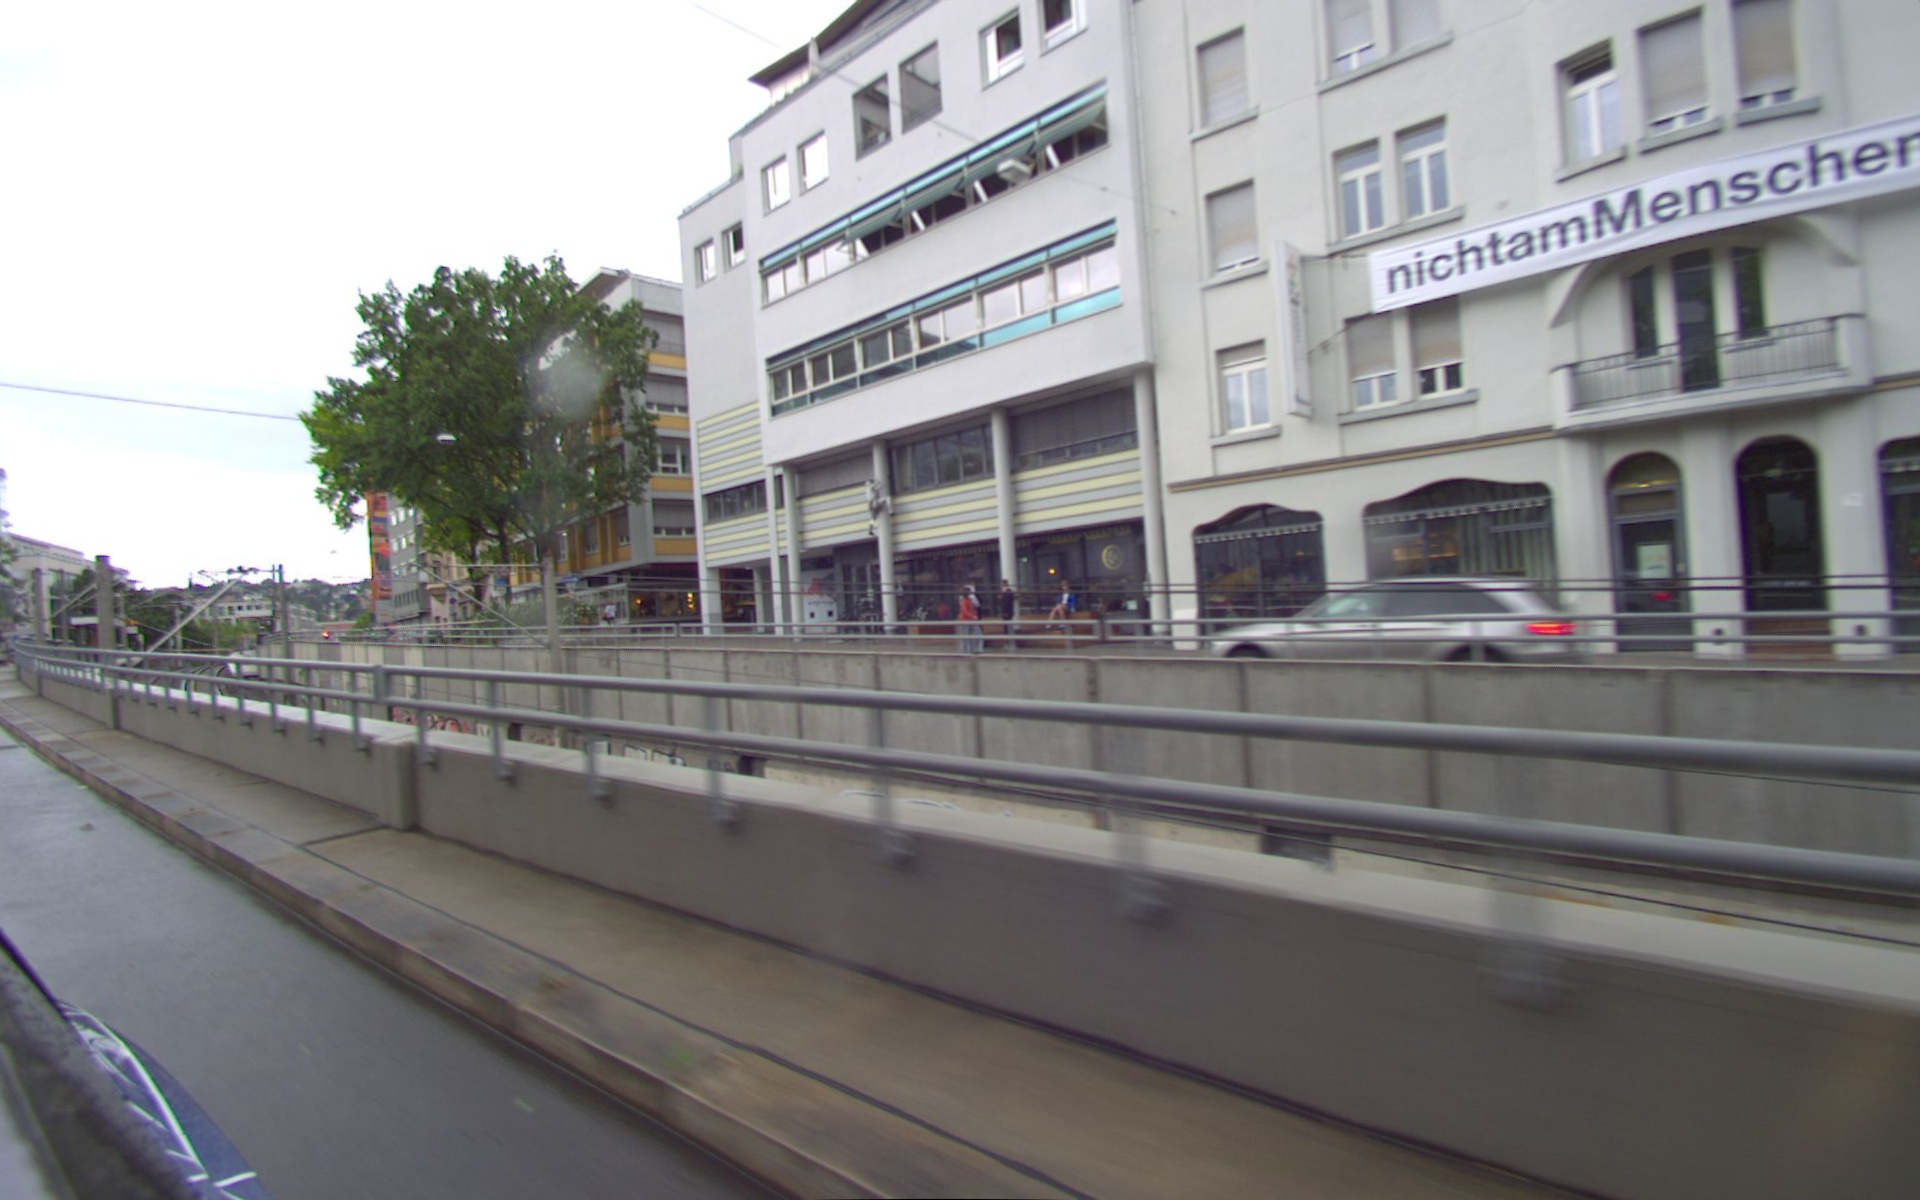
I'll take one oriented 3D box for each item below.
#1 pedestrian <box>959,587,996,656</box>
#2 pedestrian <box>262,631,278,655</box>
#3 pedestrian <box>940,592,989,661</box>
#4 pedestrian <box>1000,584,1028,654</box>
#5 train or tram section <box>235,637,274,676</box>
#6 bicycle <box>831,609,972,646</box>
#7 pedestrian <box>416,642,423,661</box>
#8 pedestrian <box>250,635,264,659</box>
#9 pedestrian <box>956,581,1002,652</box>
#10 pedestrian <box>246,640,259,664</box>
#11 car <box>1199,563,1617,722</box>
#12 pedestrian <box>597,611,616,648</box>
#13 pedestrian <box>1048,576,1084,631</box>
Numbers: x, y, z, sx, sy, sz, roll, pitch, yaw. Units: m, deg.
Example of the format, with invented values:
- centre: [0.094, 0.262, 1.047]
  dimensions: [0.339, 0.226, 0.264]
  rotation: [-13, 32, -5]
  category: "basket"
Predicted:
- centre: [0.434, 0.535, 25.451]
  dimensions: [0.783, 1.655, 0.674]
  rotation: [-3, 0, -4]
  category: "pedestrian"
- centre: [-49.465, 3.111, 72.533]
  dimensions: [0.761, 1.661, 0.780]
  rotation: [3, -5, -29]
  category: "pedestrian"
- centre: [0.122, 0.651, 24.730]
  dimensions: [0.937, 1.628, 0.668]
  rotation: [-3, 0, 25]
  category: "pedestrian"
- centre: [1.373, 0.474, 25.815]
  dimensions: [0.601, 1.735, 0.673]
  rotation: [-3, 0, 0]
  category: "pedestrian"
- centre: [-80.066, 6.491, 115.015]
  dimensions: [2.741, 3.719, 9.741]
  rotation: [-5, -3, -31]
  category: "train or tram section"
- centre: [-1.857, 0.858, 30.756]
  dimensions: [4.523, 1.051, 1.674]
  rotation: [-3, -2, 44]
  category: "bicycle"
- centre: [-48.646, 4.611, 91.058]
  dimensions: [0.415, 1.695, 0.609]
  rotation: [-4, -2, -23]
  category: "pedestrian"
- centre: [-49.504, 3.319, 71.254]
  dimensions: [0.668, 1.661, 0.898]
  rotation: [3, -5, -29]
  category: "pedestrian"
- centre: [0.502, 0.428, 26.705]
  dimensions: [0.937, 1.798, 0.668]
  rotation: [-3, 0, 25]
  category: "pedestrian"
- centre: [-52.463, 3.860, 75.055]
  dimensions: [0.624, 1.673, 0.684]
  rotation: [-3, -2, -30]
  category: "pedestrian"
- centre: [5.641, 0.529, 13.139]
  dimensions: [4.575, 1.726, 1.817]
  rotation: [-3, -1, 42]
  category: "car"
- centre: [-17.967, 1.491, 51.412]
  dimensions: [0.657, 1.863, 0.831]
  rotation: [0, -3, -41]
  category: "pedestrian"
- centre: [2.861, 0.091, 27.418]
  dimensions: [0.674, 1.430, 0.600]
  rotation: [-3, -1, 44]
  category: "pedestrian"
